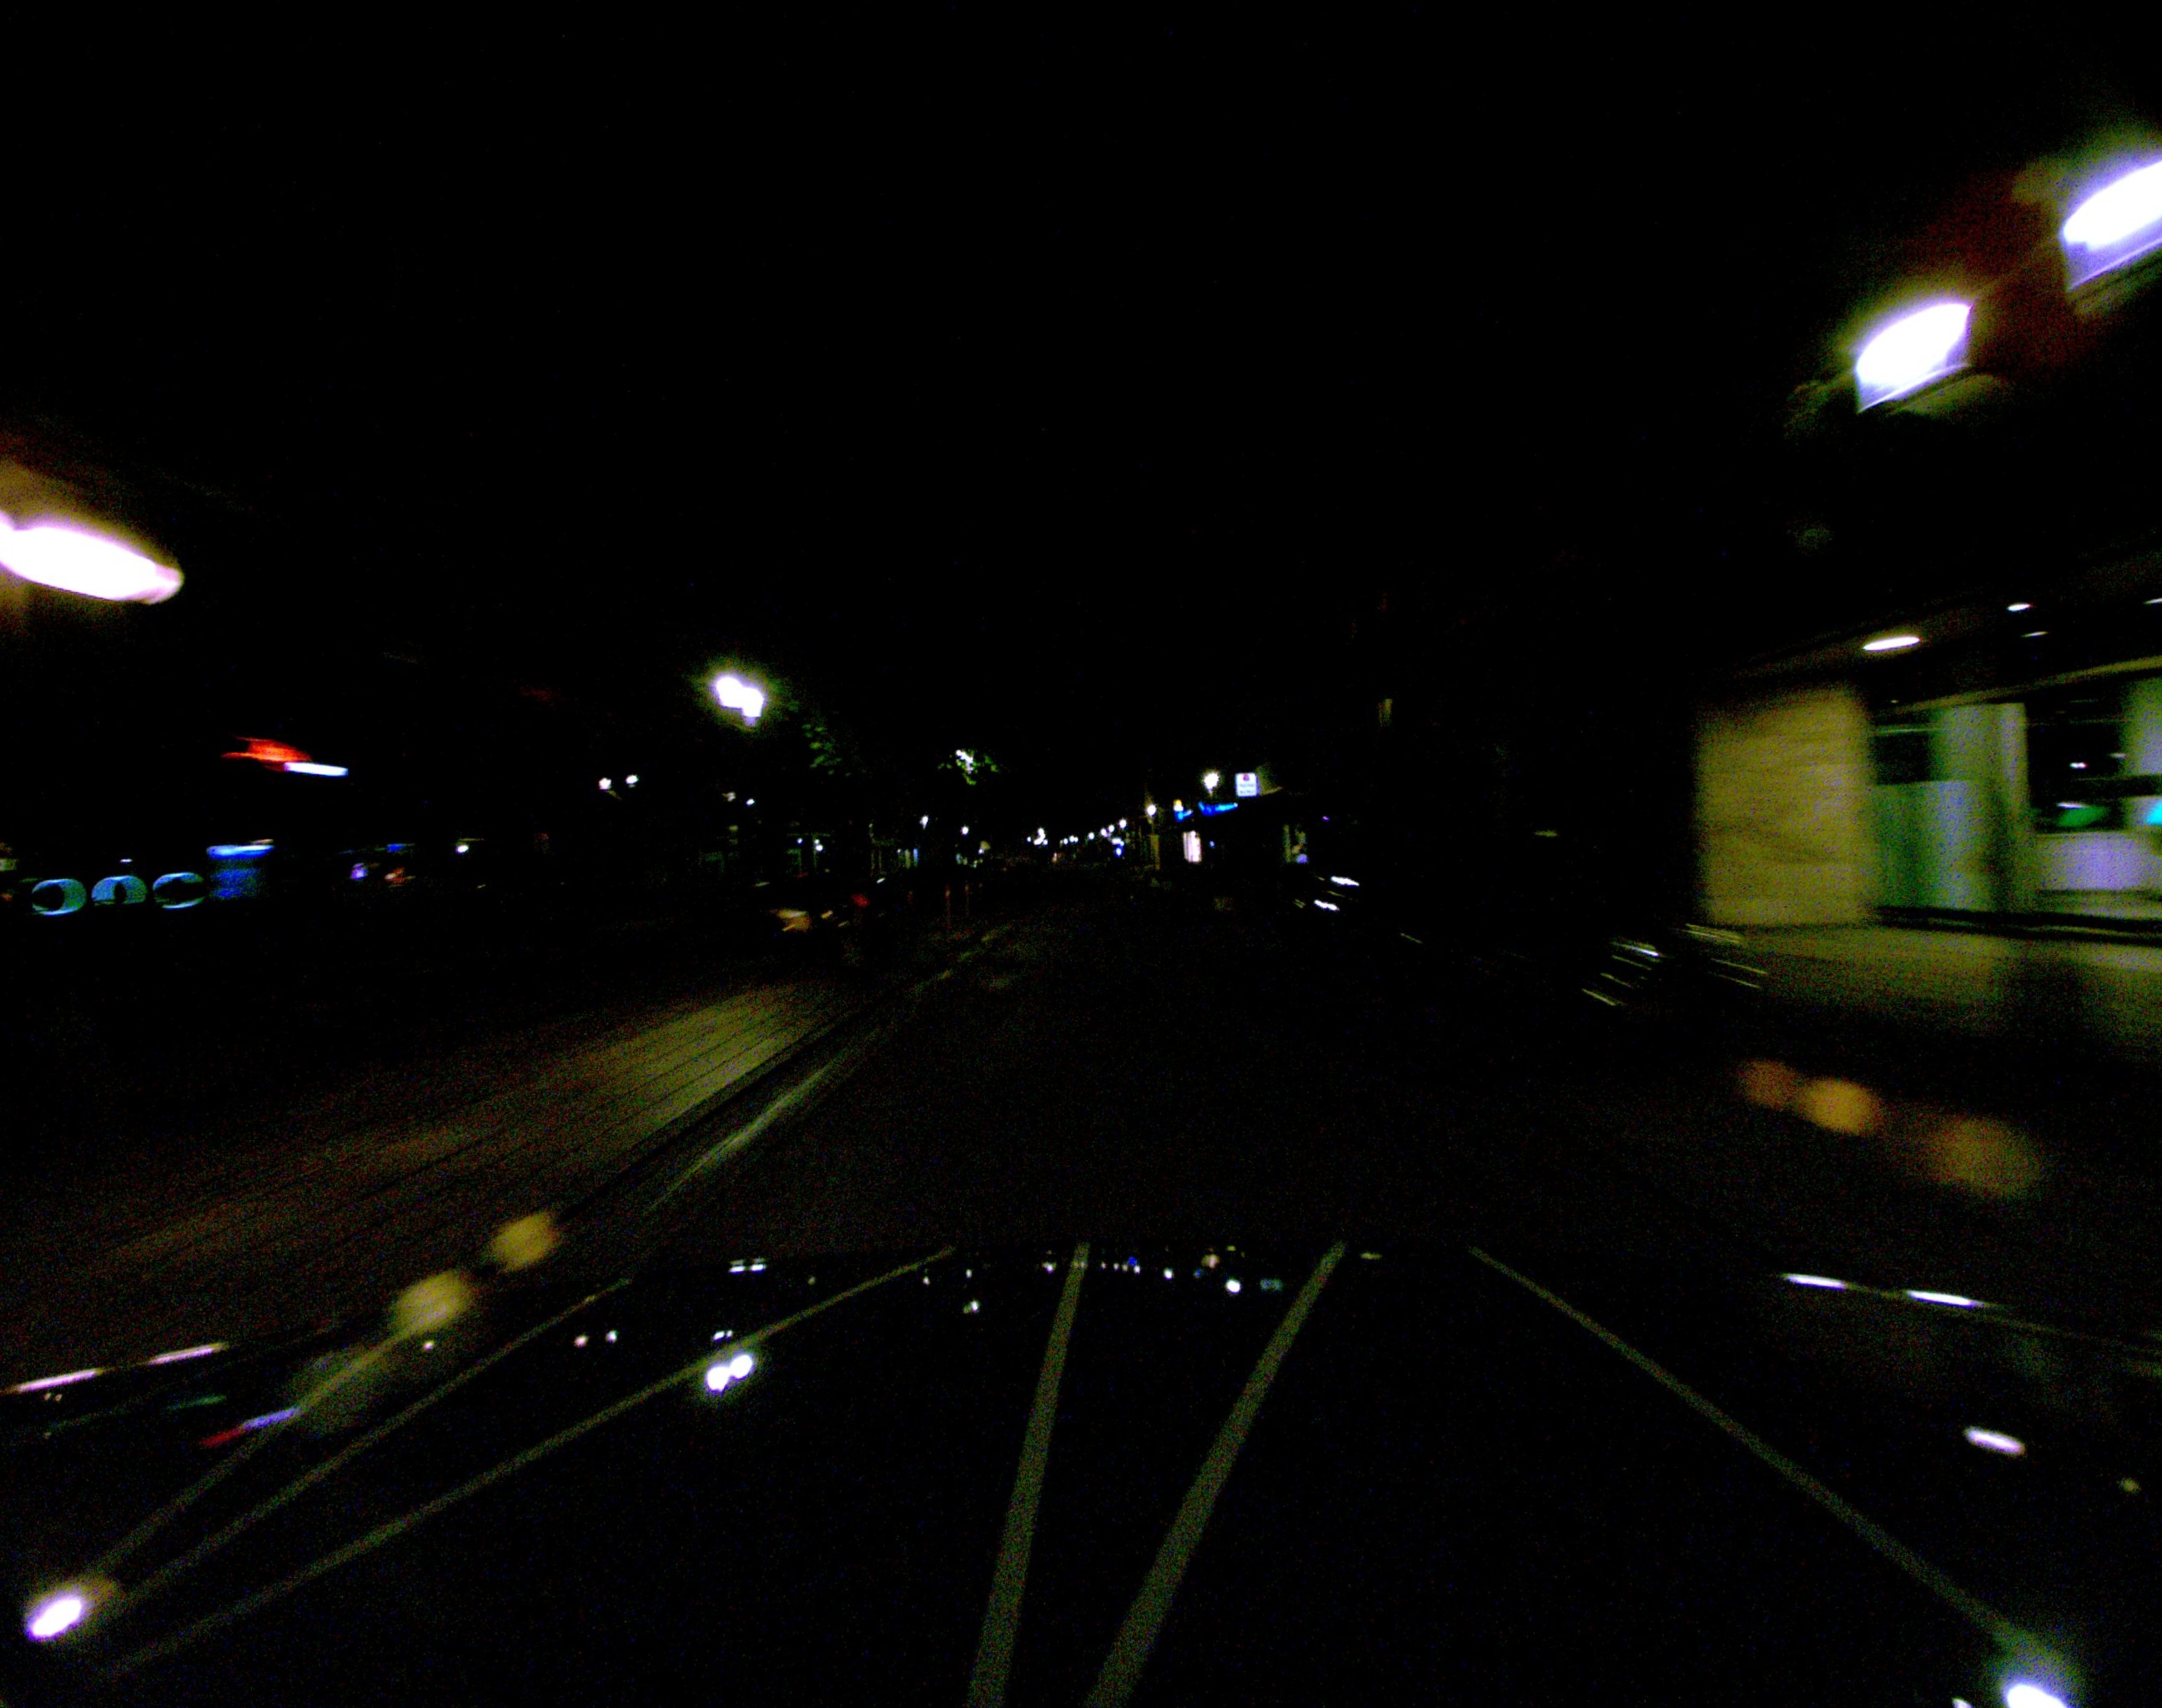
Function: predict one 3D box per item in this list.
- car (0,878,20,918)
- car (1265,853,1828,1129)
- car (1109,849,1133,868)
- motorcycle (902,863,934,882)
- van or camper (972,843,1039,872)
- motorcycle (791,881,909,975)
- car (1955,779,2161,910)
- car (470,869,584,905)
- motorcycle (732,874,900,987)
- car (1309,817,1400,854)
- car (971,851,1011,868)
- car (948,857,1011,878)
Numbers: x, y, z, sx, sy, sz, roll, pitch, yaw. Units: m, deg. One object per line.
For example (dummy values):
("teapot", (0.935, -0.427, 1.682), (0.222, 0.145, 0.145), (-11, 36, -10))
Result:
("car", (-40.761, 1.696, 26.534), (1.751, 1.470, 3.999), (-3, 0, -2))
("car", (3.195, 0.768, 6.555), (1.905, 1.462, 4.524), (-3, 0, -2))
("car", (3.428, 0.375, 65.605), (1.655, 1.417, 4.014), (-5, 0, -2))
("motorcycle", (-11.624, 1.337, 54.254), (2.226, 1.263, 0.531), (-2, 0, -43))
("van or camper", (-7.233, 0.325, 73.076), (6.061, 2.518, 2.158), (-2, 0, -31))
("motorcycle", (-3.538, 1.068, 11.534), (2.164, 1.290, 0.516), (-1, 1, 38))
("car", (15.959, -0.173, 11.424), (3.434, 1.770, 1.772), (-3, -2, 1))
("car", (-26.374, 1.570, 36.249), (3.997, 1.580, 1.901), (-1, -1, -1))
("motorcycle", (-3.574, 0.984, 10.192), (2.266, 1.383, 0.662), (-1, 1, 25))
("car", (13.003, -0.870, 36.232), (3.610, 1.511, 1.799), (-3, -2, -4))
("car", (-8.273, 0.524, 69.804), (3.183, 1.447, 1.691), (-2, 0, -28))
("car", (-7.816, 1.025, 58.851), (4.555, 1.447, 1.633), (-2, 0, -36))
